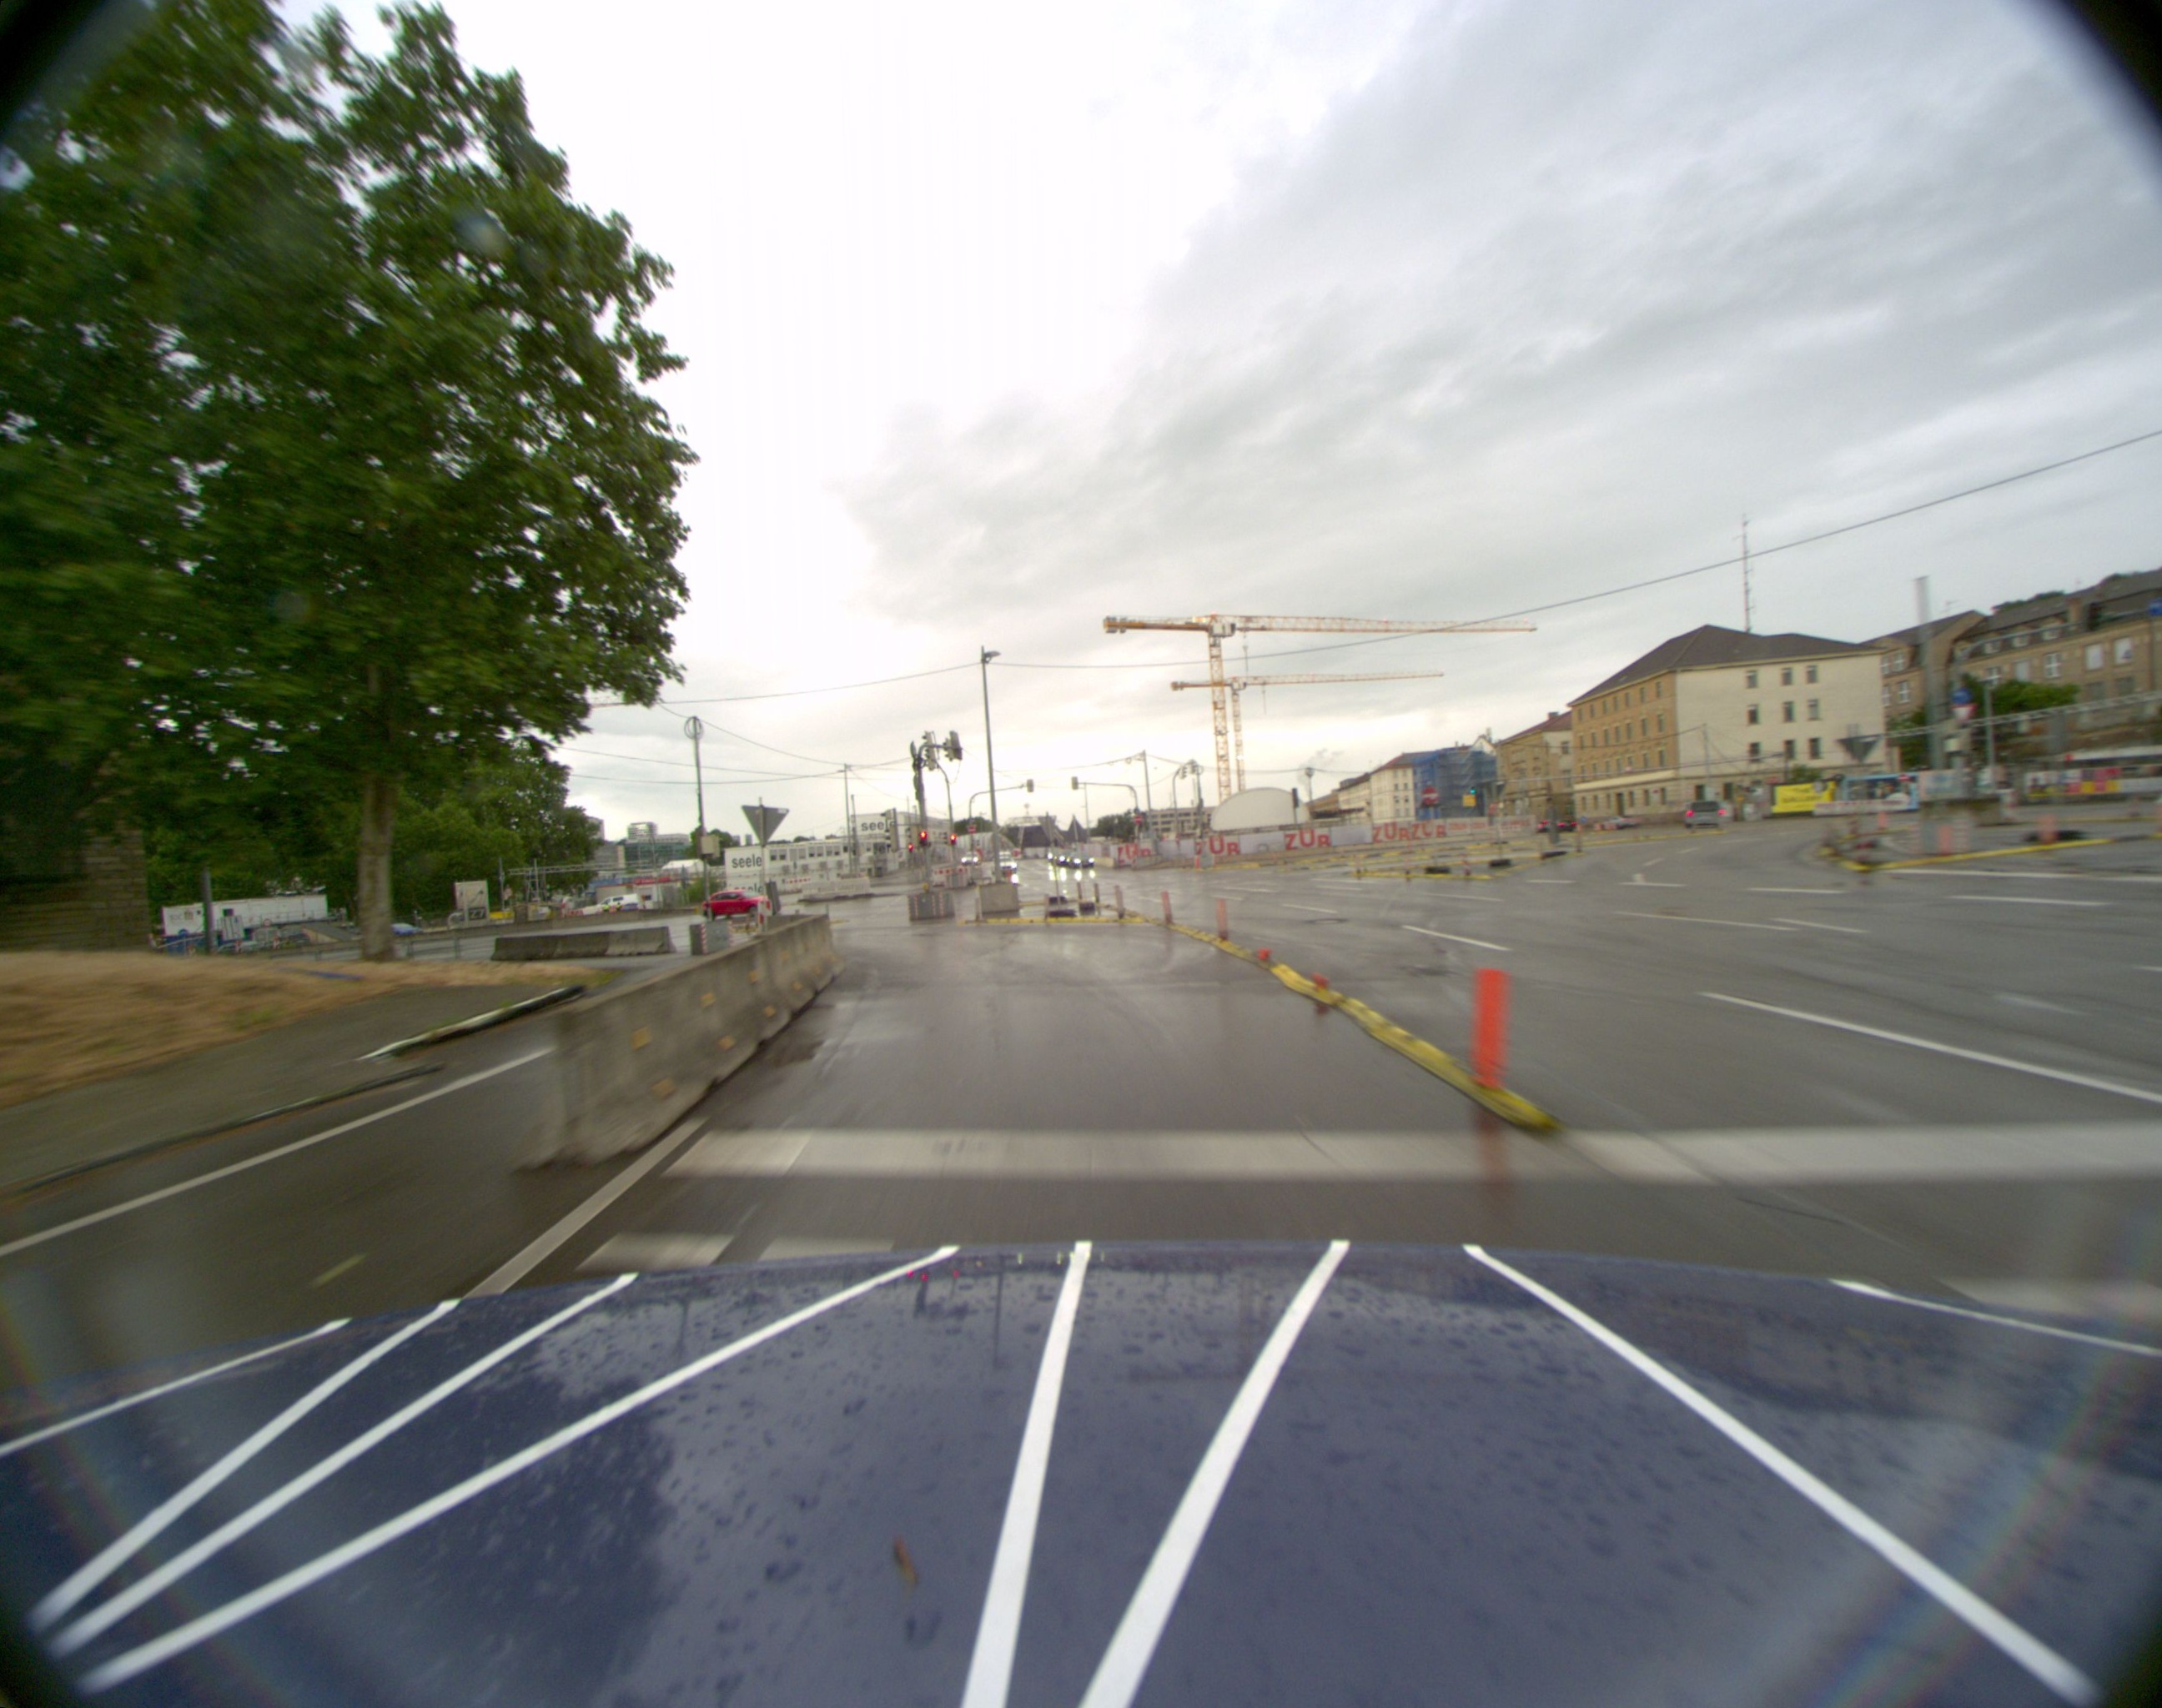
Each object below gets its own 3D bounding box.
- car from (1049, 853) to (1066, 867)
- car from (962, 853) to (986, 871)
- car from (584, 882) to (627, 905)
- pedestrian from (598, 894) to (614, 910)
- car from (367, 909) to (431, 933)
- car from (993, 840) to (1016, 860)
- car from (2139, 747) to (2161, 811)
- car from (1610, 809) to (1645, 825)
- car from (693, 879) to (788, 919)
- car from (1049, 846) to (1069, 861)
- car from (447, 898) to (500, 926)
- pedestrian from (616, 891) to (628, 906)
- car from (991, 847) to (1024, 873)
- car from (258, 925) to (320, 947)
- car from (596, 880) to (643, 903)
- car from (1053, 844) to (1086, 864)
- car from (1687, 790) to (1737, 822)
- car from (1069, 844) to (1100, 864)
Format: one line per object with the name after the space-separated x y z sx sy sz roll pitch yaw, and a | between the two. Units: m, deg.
-2.488 0.616 80.212 1.650 1.171 4.286 -4 2 -3 | car
-12.303 0.844 87.788 1.999 1.762 4.356 -6 1 -1 | car
-60.211 4.966 96.205 4.002 2.370 1.997 -6 1 -17 | car
-44.211 4.486 70.692 0.836 1.345 0.745 -6 2 15 | pedestrian
-58.777 5.766 65.515 4.432 1.481 1.843 -6 1 14 | car
-7.497 -0.406 74.705 1.999 1.762 4.354 -6 1 -5 | car
35.359 -2.417 22.390 1.998 2.002 4.641 -6 2 5 | car
55.523 -3.815 77.259 1.580 1.340 3.808 -5 3 17 | car
-17.522 2.293 39.222 3.995 1.543 1.691 -6 1 6 | car
-2.531 -0.066 87.141 1.999 1.548 4.522 -6 1 -3 | car
-63.742 6.066 79.729 3.994 2.370 2.001 -6 1 10 | car
-43.492 4.182 71.986 0.746 1.345 0.836 -7 2 -27 | pedestrian
-6.460 0.502 66.312 2.001 2.002 4.417 -6 1 -15 | car
-71.681 7.404 68.790 4.432 1.481 1.843 -6 1 15 | car
-60.110 4.818 99.048 4.954 2.370 1.996 -6 1 -27 | car
-1.170 0.010 73.000 2.001 1.707 4.417 -6 1 -15 | car
43.227 -3.324 52.004 4.690 1.829 1.995 -7 3 -43 | car
0.265 0.018 67.405 1.861 1.557 3.798 -6 1 -11 | car
